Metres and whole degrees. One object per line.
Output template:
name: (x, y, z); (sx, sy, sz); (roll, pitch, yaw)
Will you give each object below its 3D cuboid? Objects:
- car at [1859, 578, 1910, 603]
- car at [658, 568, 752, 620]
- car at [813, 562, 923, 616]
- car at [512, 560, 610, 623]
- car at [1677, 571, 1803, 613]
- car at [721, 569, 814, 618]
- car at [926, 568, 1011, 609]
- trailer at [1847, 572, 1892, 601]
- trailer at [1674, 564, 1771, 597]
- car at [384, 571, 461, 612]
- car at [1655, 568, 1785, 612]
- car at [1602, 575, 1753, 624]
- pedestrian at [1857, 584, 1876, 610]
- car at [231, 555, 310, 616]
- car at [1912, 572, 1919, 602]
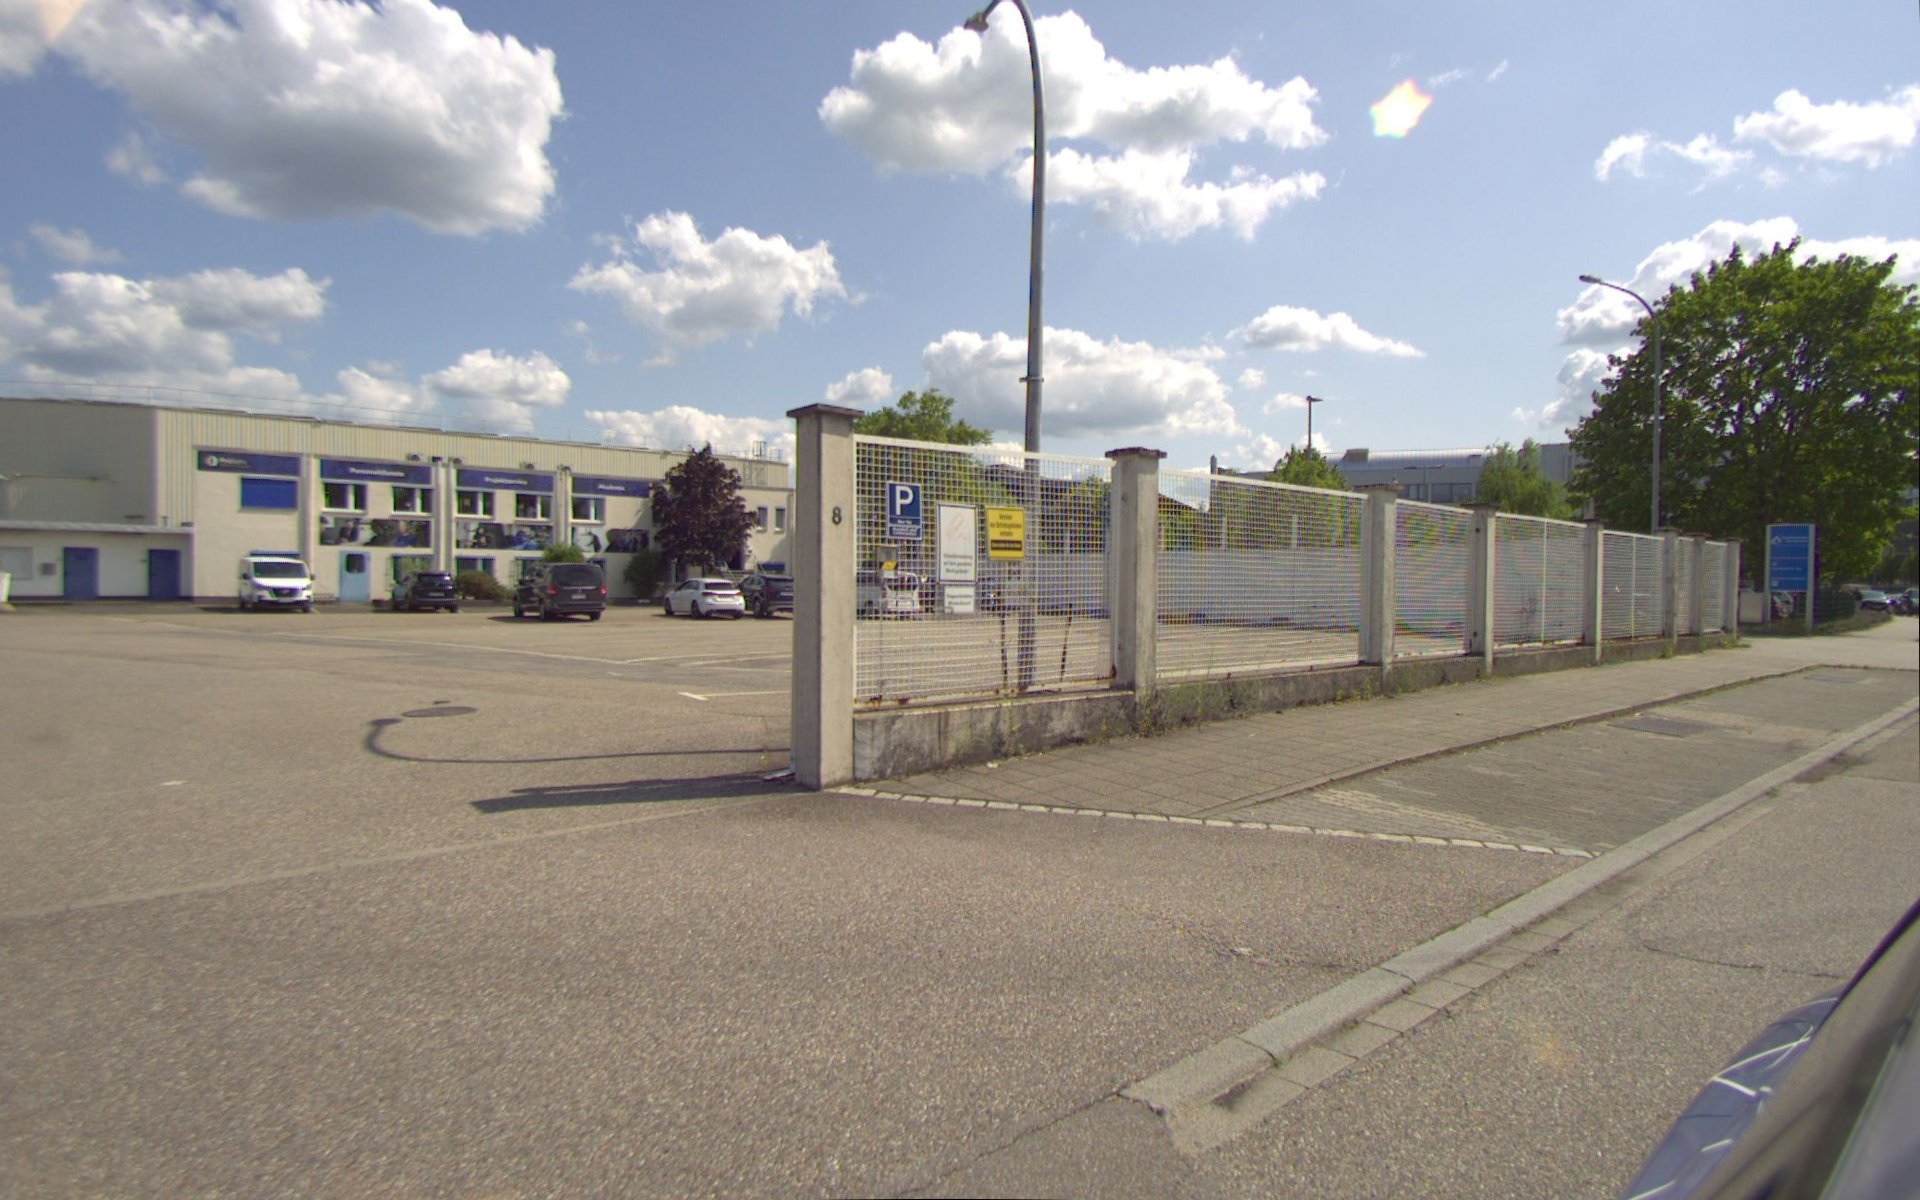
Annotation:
car: (68.214, -0.717, 74.733); (1.853, 1.703, 4.656); (4, 3, 32)
car: (-9.320, -0.277, 36.846); (1.900, 1.659, 3.922); (-1, 4, -38)
car: (-3.841, -0.518, 41.516); (1.902, 1.971, 5.063); (-2, 4, -41)
car: (-13.470, -0.369, 34.020); (1.900, 1.876, 4.402); (-1, 4, -38)
car: (32.640, -0.371, 42.436); (1.876, 1.613, 3.883); (-1, 3, -40)
car: (-7.323, -0.311, 38.321); (1.900, 1.660, 3.921); (-1, 3, -38)
car: (0.316, -0.491, 44.574); (1.879, 1.671, 4.003); (-1, 1, -31)
trailer: (70.460, -1.069, 78.413); (1.738, 2.092, 3.904); (4, 3, 31)
trailer: (50.430, -1.311, 67.084); (5.033, 2.108, 2.035); (1, 2, 36)
car: (-21.314, -0.326, 40.088); (1.814, 1.529, 3.993); (-1, 1, -41)
car: (30.610, -0.436, 40.843); (1.876, 1.657, 3.883); (-1, 3, -40)
car: (26.436, -0.068, 37.398); (1.876, 1.613, 4.218); (-1, 3, -40)
pedestrian: (61.109, -0.191, 68.239); (0.718, 1.713, 0.731); (5, 3, 31)
car: (-25.971, -0.611, 38.067); (1.902, 2.057, 4.397); (-2, 4, -42)
car: (57.831, -0.723, 59.655); (1.846, 1.787, 5.010); (4, 3, 37)
